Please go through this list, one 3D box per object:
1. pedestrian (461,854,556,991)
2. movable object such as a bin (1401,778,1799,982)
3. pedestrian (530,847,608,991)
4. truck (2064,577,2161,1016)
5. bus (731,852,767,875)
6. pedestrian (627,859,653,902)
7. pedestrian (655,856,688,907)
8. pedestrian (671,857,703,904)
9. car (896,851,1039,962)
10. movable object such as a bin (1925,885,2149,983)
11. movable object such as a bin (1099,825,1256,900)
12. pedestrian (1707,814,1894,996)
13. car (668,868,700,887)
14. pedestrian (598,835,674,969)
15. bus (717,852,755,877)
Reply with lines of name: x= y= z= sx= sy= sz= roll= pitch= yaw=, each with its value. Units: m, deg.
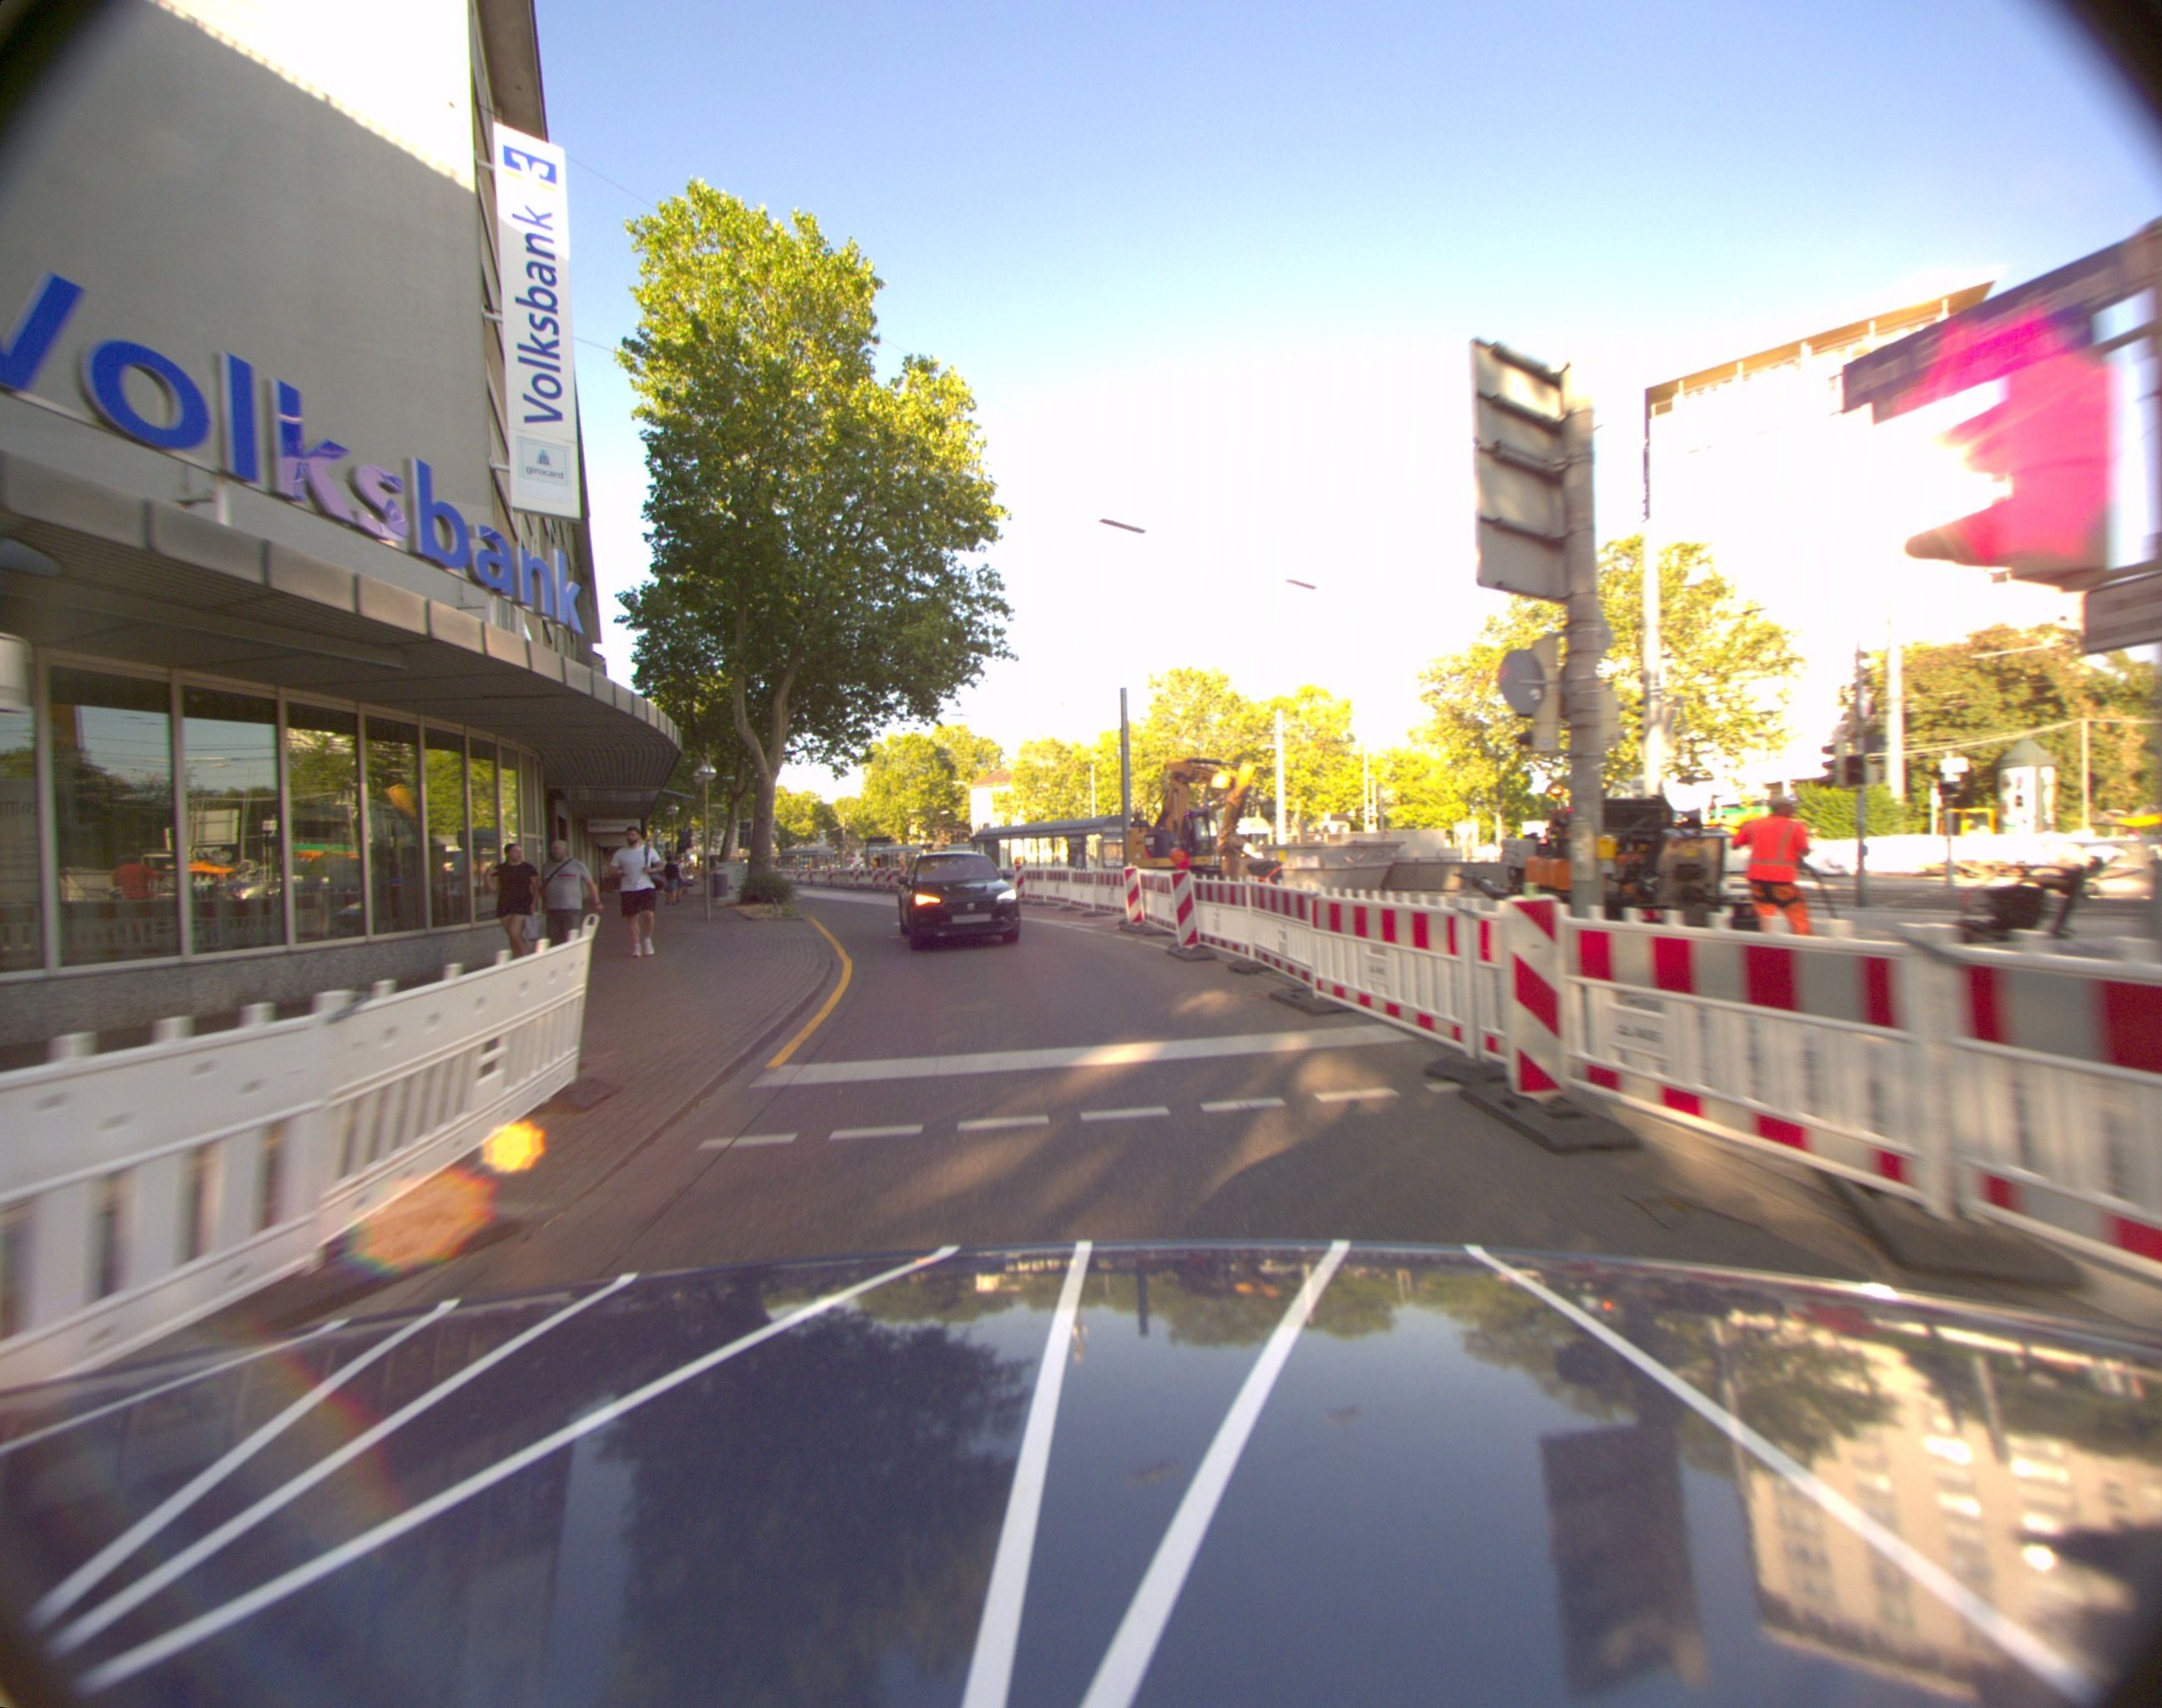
pedestrian: x=-6.890 y=0.802 z=9.188 sx=0.635 sy=1.564 sz=0.773 roll=2 pitch=-1 yaw=-18
movable object such as a bin: x=7.069 y=0.296 z=11.299 sx=1.999 sy=2.243 sz=5.205 roll=-3 pitch=0 yaw=-4
pedestrian: x=-6.301 y=0.780 z=9.386 sx=0.585 sy=1.698 sz=0.678 roll=2 pitch=-1 yaw=-18
truck: x=10.386 y=-0.504 z=2.297 sx=2.820 sy=3.520 sz=8.979 roll=-2 pitch=0 yaw=-4
bus: x=-50.947 y=1.453 z=116.951 sx=2.741 sy=3.188 sz=12.348 roll=-4 pitch=0 yaw=-13
pedestrian: x=-17.402 y=1.025 z=29.982 sx=0.847 sy=1.663 sz=0.988 roll=0 pitch=-1 yaw=-31
pedestrian: x=-14.093 y=0.953 z=26.143 sx=0.904 sy=1.700 sz=1.068 roll=3 pitch=-2 yaw=-31
pedestrian: x=-14.643 y=0.984 z=28.217 sx=0.904 sy=1.686 sz=1.068 roll=3 pitch=-2 yaw=-31
car: x=-2.271 y=0.833 z=14.100 sx=2.001 sy=1.638 sz=4.198 roll=-3 pitch=1 yaw=-16
movable object such as a bin: x=10.574 y=0.837 z=8.449 sx=0.937 sy=0.911 sz=1.416 roll=-2 pitch=0 yaw=-29
movable object such as a bin: x=3.203 y=0.286 z=26.156 sx=2.656 sy=2.304 sz=4.889 roll=-2 pitch=0 yaw=-37
pedestrian: x=7.662 y=0.504 z=8.141 sx=0.976 sy=1.787 sz=1.068 roll=-2 pitch=0 yaw=-14
car: x=-34.649 y=2.000 z=66.269 sx=1.927 sy=1.588 sz=4.779 roll=0 pitch=-1 yaw=-34
pedestrian: x=-6.585 y=0.702 z=11.255 sx=0.842 sy=1.858 sz=1.097 roll=3 pitch=-2 yaw=-31
bus: x=-48.405 y=1.415 z=106.909 sx=2.741 sy=3.188 sz=12.291 roll=-4 pitch=0 yaw=-15
